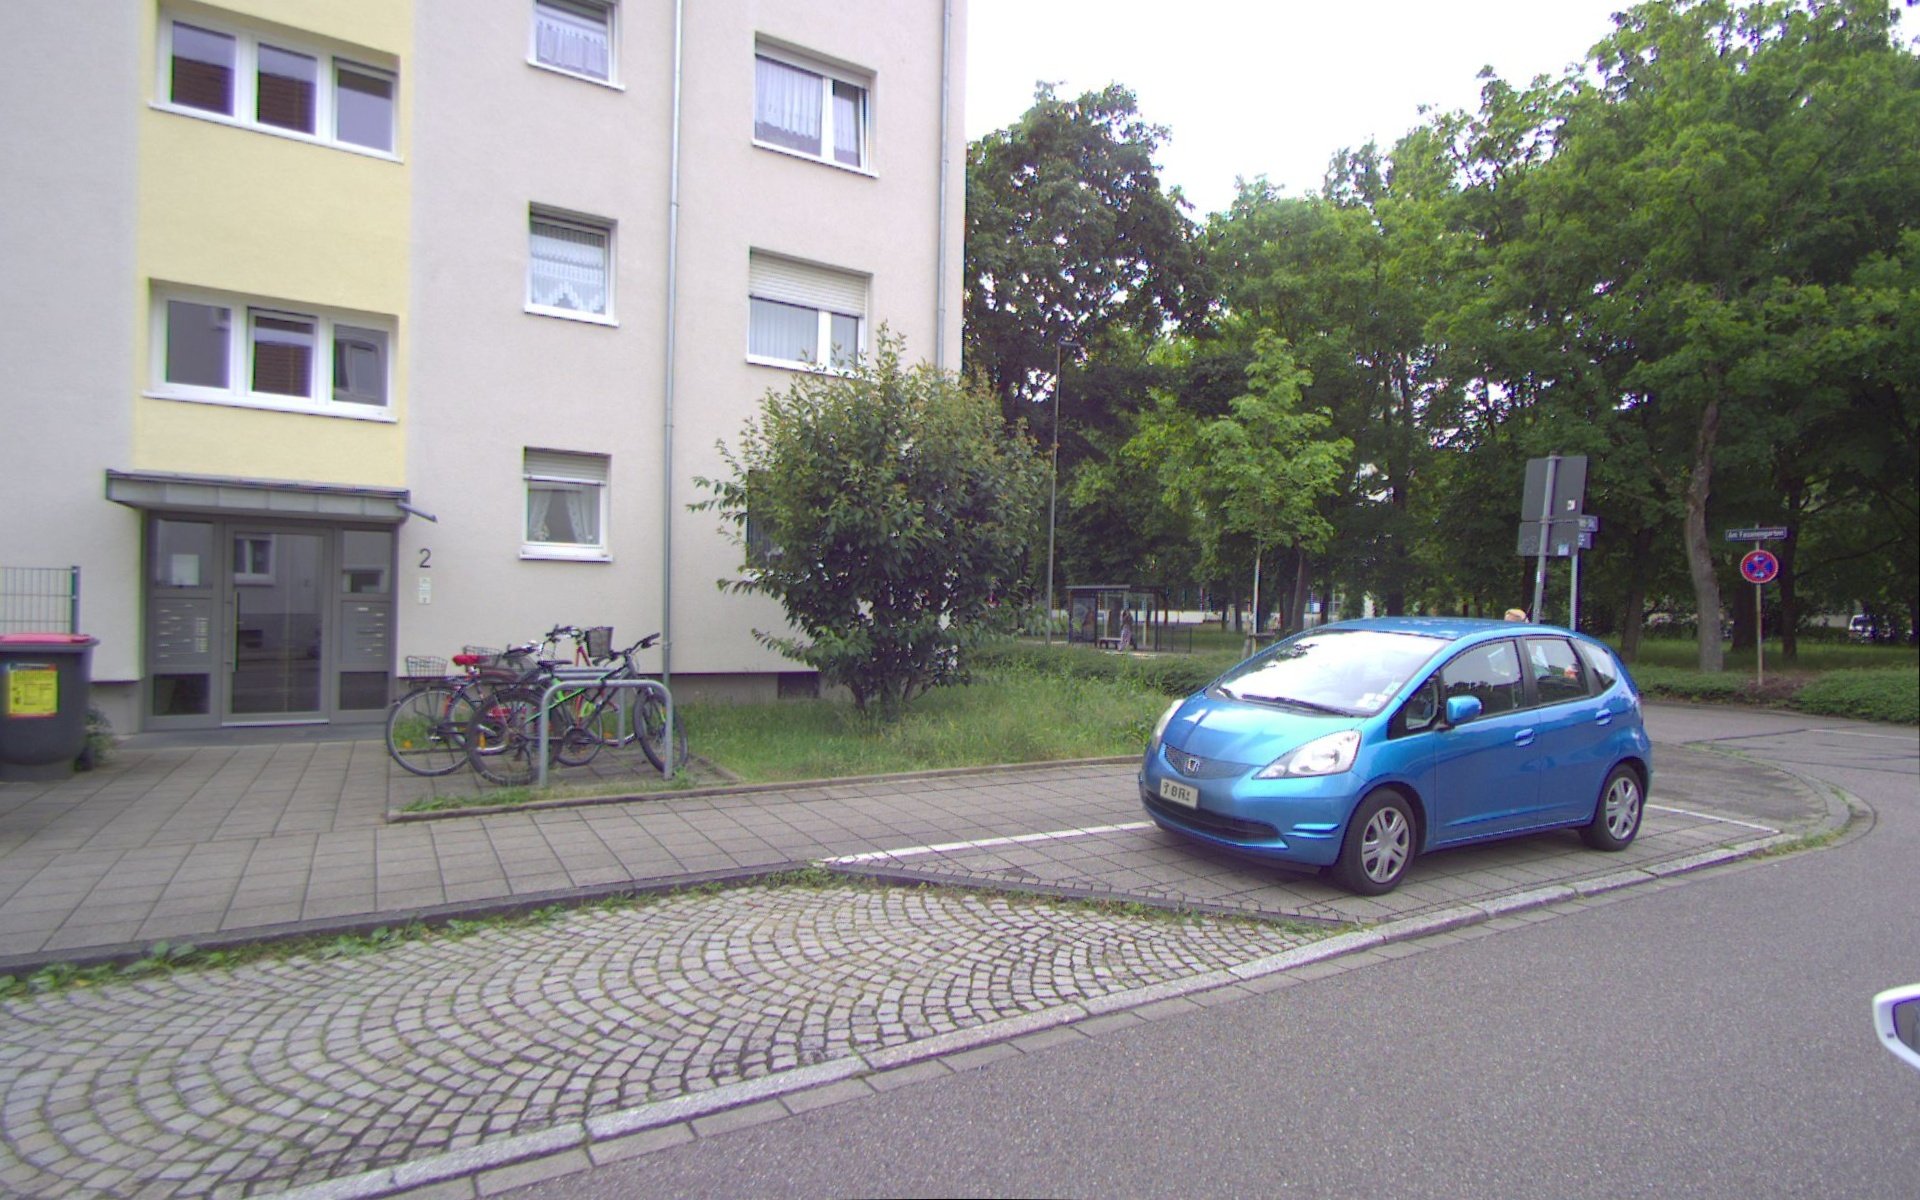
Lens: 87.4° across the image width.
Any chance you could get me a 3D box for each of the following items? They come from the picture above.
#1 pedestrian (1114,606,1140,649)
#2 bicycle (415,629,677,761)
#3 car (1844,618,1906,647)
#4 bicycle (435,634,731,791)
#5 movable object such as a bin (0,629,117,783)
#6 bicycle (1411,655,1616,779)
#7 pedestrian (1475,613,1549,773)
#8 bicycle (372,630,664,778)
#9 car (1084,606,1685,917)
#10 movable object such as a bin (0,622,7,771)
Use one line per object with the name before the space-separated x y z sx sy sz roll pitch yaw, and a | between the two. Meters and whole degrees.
pedestrian | 6.307 1.021 37.958 0.648 1.604 0.693 0 0 -28
bicycle | -3.764 0.814 9.210 2.149 1.085 0.654 1 0 -30
car | 54.991 1.940 60.345 3.959 1.639 1.906 2 -1 -34
bicycle | -2.920 0.819 7.880 2.097 1.082 0.654 1 0 -30
movable object such as a bin | -6.837 0.761 7.557 0.627 1.065 0.859 1 0 -32
bicycle | 5.671 1.175 10.389 1.782 1.134 0.538 1 0 21
pedestrian | 5.589 0.921 10.186 0.556 1.570 0.448 1 0 17
bicycle | -3.623 0.806 8.343 2.149 1.085 0.654 1 0 -30
car | 2.930 0.849 6.766 3.911 1.482 1.721 1 2 -31
movable object such as a bin | -7.413 0.735 7.262 0.591 1.131 0.837 1 0 -33
